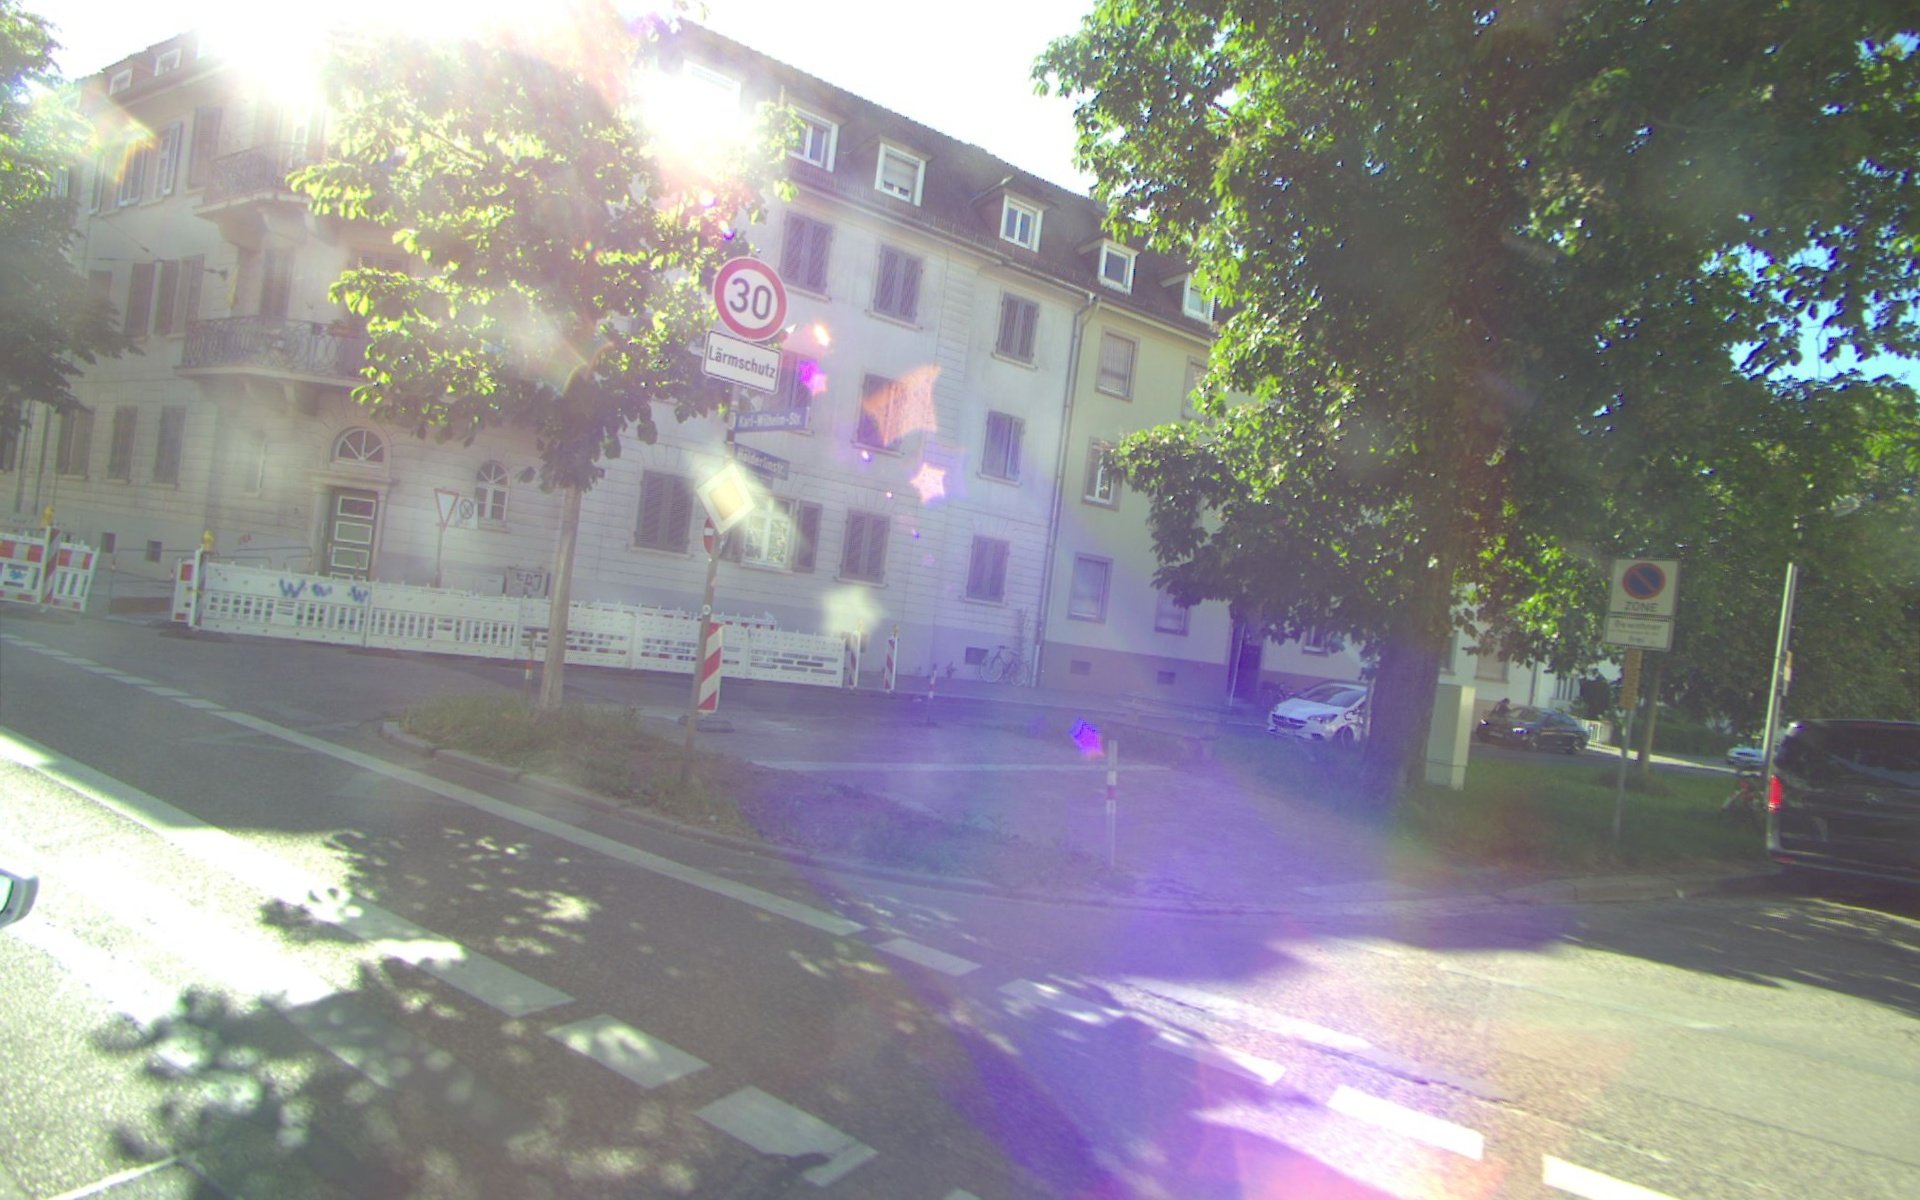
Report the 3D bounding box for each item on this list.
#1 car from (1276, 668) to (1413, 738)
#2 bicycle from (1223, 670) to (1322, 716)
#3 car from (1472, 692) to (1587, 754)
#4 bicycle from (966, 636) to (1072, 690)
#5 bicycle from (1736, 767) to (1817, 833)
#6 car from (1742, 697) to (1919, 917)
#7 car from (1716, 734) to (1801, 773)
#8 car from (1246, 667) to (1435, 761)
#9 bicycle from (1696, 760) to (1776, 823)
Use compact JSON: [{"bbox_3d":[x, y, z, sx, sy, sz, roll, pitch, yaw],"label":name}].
[{"bbox_3d":[11.483,3.080,29.996,3.836,1.565,1.826,8,1,-35],"label":"car"},{"bbox_3d":[10.347,3.086,33.158,3.964,1.170,0.759,8,-1,-35],"label":"bicycle"},{"bbox_3d":[20.104,4.345,35.494,3.833,1.673,1.770,8,1,-33],"label":"car"},{"bbox_3d":[1.659,1.750,27.722,3.082,1.127,0.521,8,2,-32],"label":"bicycle"},{"bbox_3d":[11.015,2.697,13.558,1.370,0.786,0.415,8,-1,-34],"label":"bicycle"},{"bbox_3d":[10.843,2.292,11.020,5.018,1.911,1.984,8,-3,-33],"label":"car"},{"bbox_3d":[36.561,7.020,46.031,3.833,1.236,1.792,8,1,-33],"label":"car"},{"bbox_3d":[8.421,2.533,22.189,3.934,1.505,1.770,8,1,-33],"label":"car"},{"bbox_3d":[10.772,2.663,13.951,1.370,0.768,0.415,8,-1,-34],"label":"bicycle"}]
